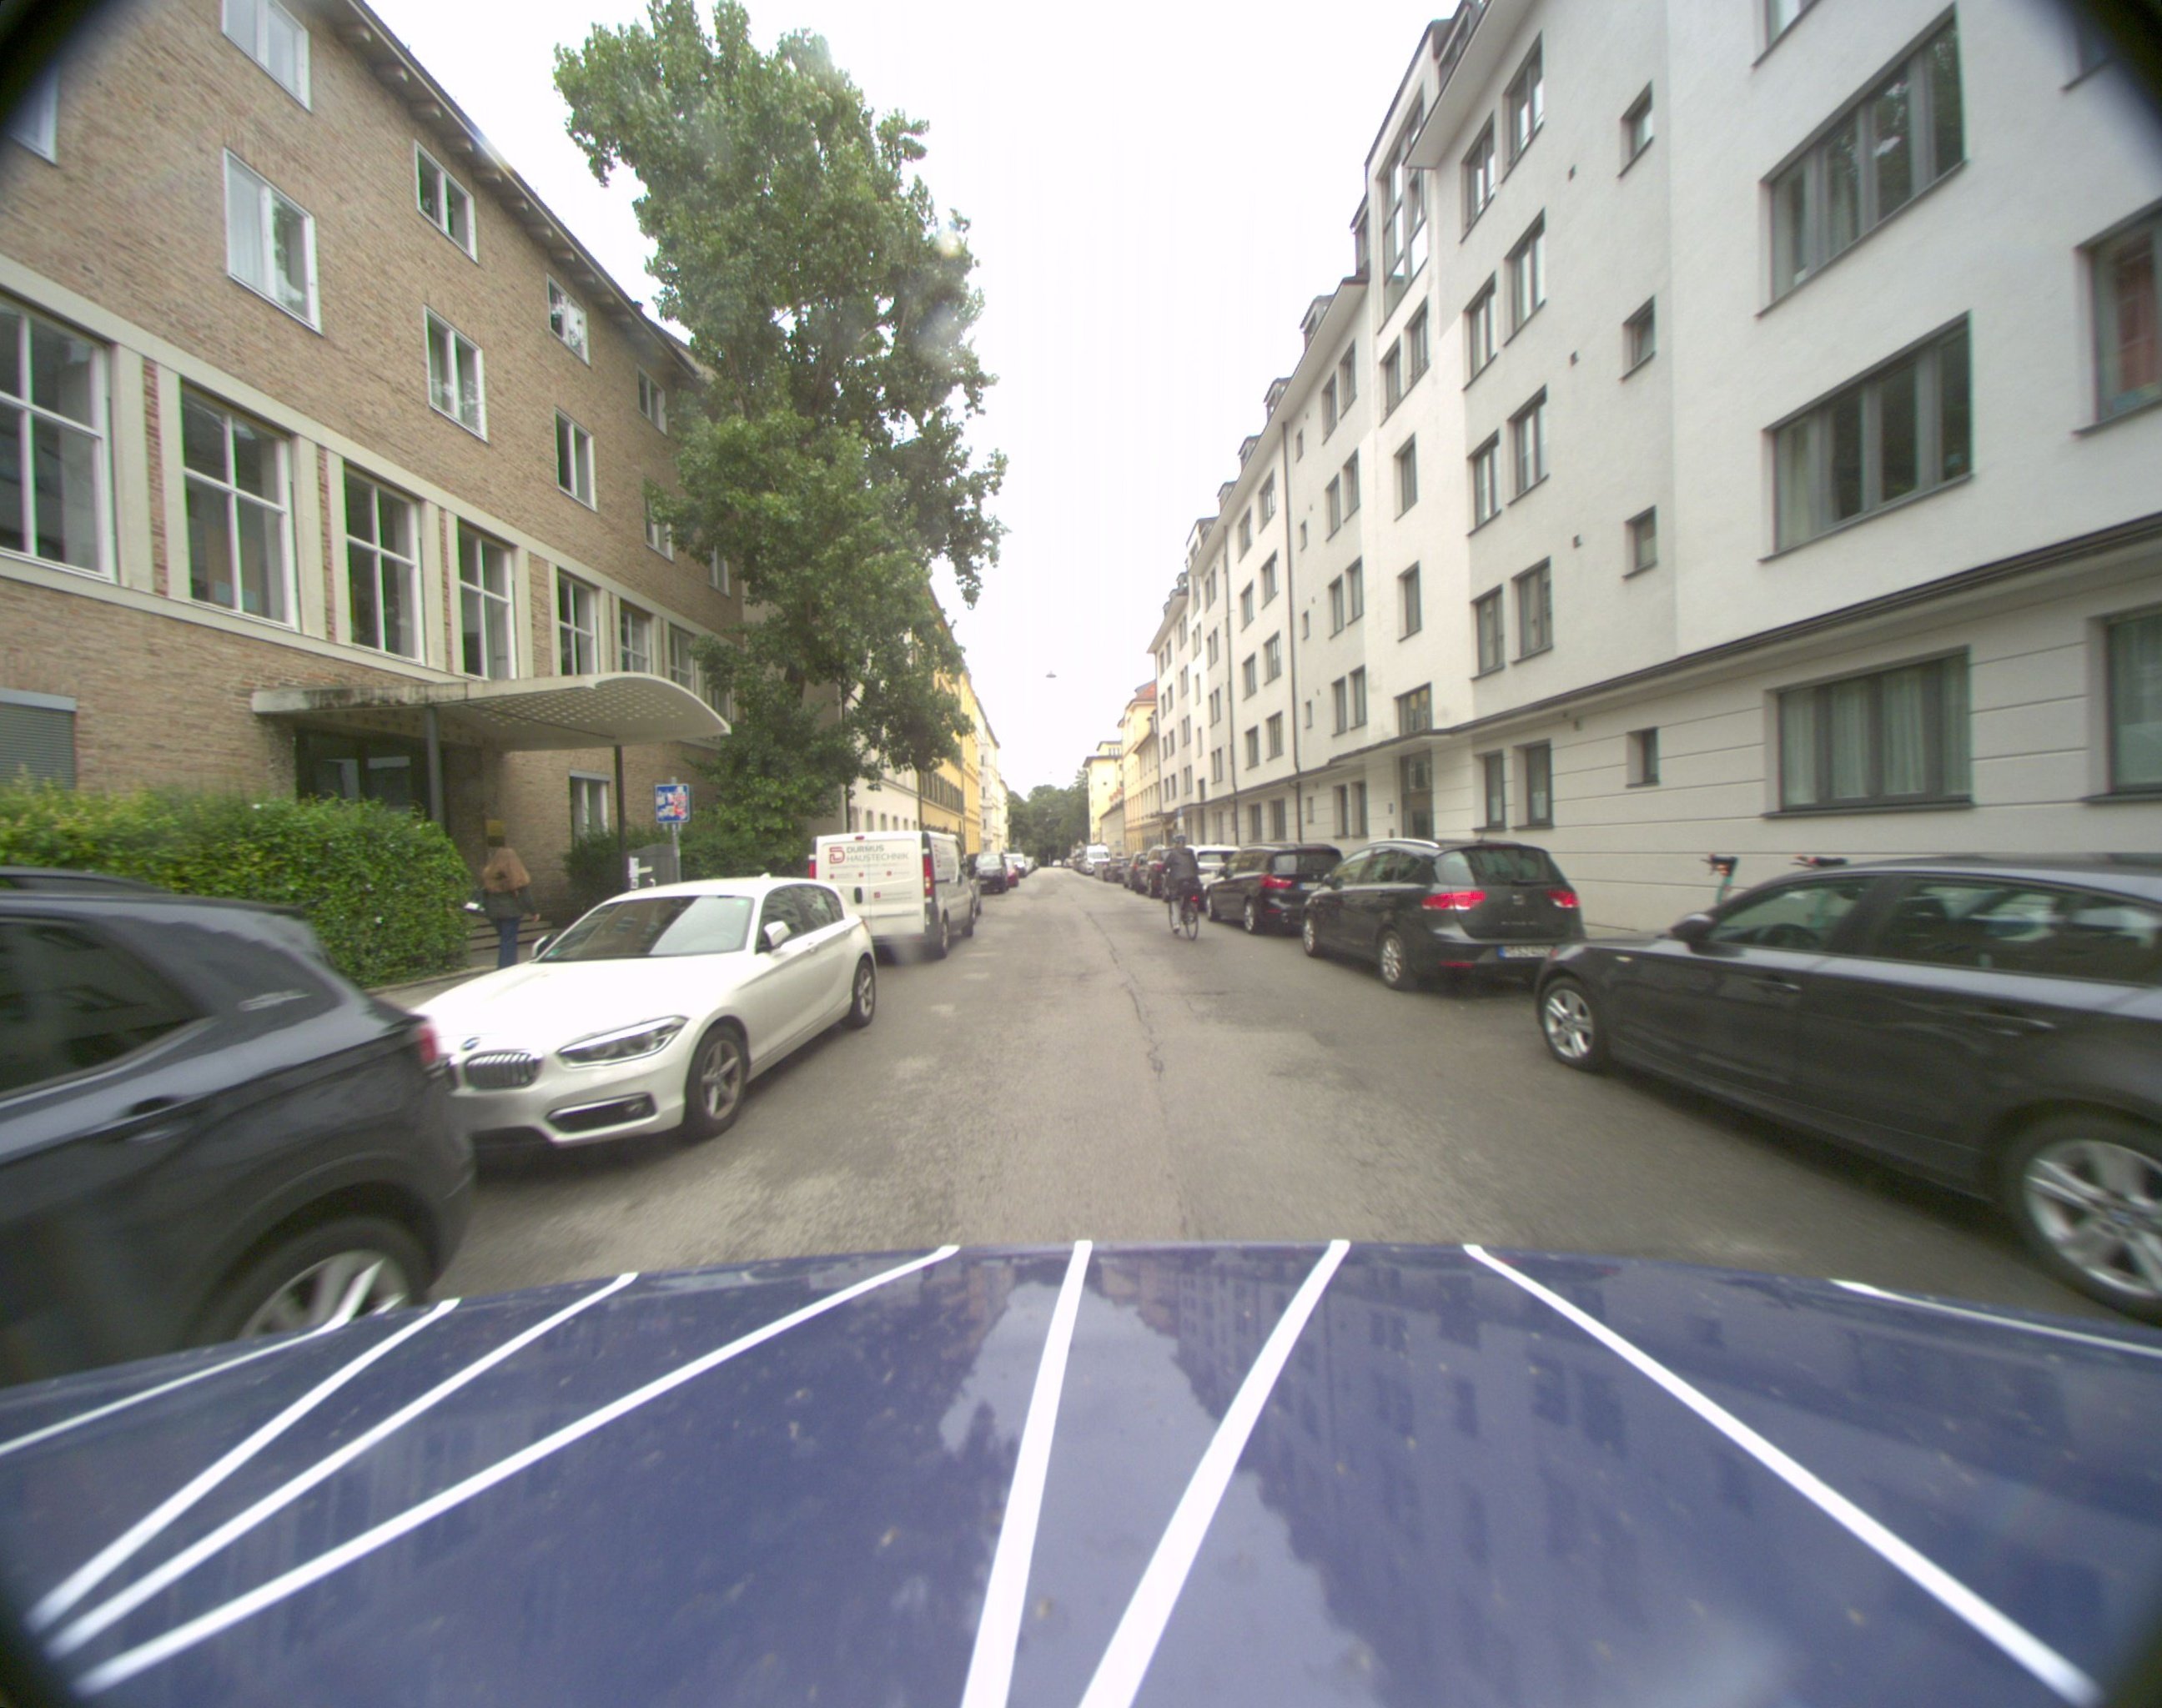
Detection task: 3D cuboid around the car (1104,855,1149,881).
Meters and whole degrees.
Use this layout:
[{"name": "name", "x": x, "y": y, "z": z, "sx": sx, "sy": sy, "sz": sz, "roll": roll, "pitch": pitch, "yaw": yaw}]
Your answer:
[{"name": "car", "x": 2.421, "y": 0.755, "z": 41.562, "sx": 1.644, "sy": 1.346, "sz": 4.055, "roll": 0, "pitch": 0, "yaw": -9}]

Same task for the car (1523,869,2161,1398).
[{"name": "car", "x": 3.977, "y": 0.828, "z": 3.363, "sx": 1.755, "sy": 1.445, "sz": 4.015, "roll": -1, "pitch": 0, "yaw": 1}]

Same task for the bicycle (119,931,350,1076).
[{"name": "bicycle", "x": -7.856, "y": 1.339, "z": 7.153, "sx": 0.423, "sy": 1.047, "sz": 1.488, "roll": -3, "pitch": 0, "yaw": 1}]

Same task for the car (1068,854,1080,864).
[{"name": "car", "x": -1.110, "y": 0.715, "z": 116.215, "sx": 1.711, "sy": 1.490, "sz": 3.999, "roll": -2, "pitch": 0, "yaw": -3}]

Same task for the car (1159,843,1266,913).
[{"name": "car", "x": 3.392, "y": 0.592, "z": 20.526, "sx": 1.877, "sy": 1.648, "sz": 4.589, "roll": -1, "pitch": 0, "yaw": -3}]

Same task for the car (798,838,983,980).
[{"name": "car", "x": -2.964, "y": 0.753, "z": 13.002, "sx": 1.887, "sy": 1.913, "sz": 4.874, "roll": -2, "pitch": 0, "yaw": 0}]

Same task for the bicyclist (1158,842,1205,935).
[{"name": "bicyclist", "x": 1.721, "y": 0.570, "z": 13.147, "sx": 0.659, "sy": 1.542, "sz": 0.887, "roll": -2, "pitch": 1, "yaw": 0}]

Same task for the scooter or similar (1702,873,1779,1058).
[{"name": "scooter or similar", "x": 5.363, "y": 0.845, "z": 6.211, "sx": 0.226, "sy": 1.348, "sz": 1.121, "roll": 0, "pitch": 1, "yaw": 28}]

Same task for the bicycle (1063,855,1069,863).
[{"name": "bicycle", "x": -2.126, "y": 0.672, "z": 109.942, "sx": 0.734, "sy": 1.144, "sz": 1.999, "roll": -2, "pitch": 0, "yaw": -3}]

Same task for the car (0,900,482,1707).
[{"name": "car", "x": -2.713, "y": 0.992, "z": 0.317, "sx": 1.752, "sy": 1.584, "sz": 3.955, "roll": -3, "pitch": 1, "yaw": -1}]

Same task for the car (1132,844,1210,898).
[{"name": "car", "x": 2.957, "y": 0.543, "z": 25.830, "sx": 1.877, "sy": 1.678, "sz": 4.519, "roll": -1, "pitch": 0, "yaw": -3}]

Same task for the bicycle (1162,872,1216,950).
[{"name": "bicycle", "x": 1.846, "y": 0.946, "z": 13.239, "sx": 0.650, "sy": 1.190, "sz": 1.950, "roll": -1, "pitch": 1, "yaw": 0}]

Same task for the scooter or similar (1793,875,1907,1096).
[{"name": "scooter or similar", "x": 5.330, "y": 0.838, "z": 5.308, "sx": 0.226, "sy": 1.348, "sz": 1.121, "roll": 0, "pitch": 1, "yaw": 28}]

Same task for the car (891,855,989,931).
[{"name": "car", "x": -3.366, "y": 0.871, "z": 18.934, "sx": 1.813, "sy": 1.591, "sz": 4.213, "roll": -2, "pitch": 0, "yaw": -3}]

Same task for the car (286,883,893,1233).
[{"name": "car", "x": -2.852, "y": 1.053, "z": 5.702, "sx": 1.677, "sy": 1.409, "sz": 4.201, "roll": -3, "pitch": 0, "yaw": 1}]

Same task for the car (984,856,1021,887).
[{"name": "car", "x": -4.020, "y": 0.881, "z": 39.550, "sx": 1.718, "sy": 1.415, "sz": 4.456, "roll": -2, "pitch": 1, "yaw": -4}]

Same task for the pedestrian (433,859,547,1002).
[{"name": "pedestrian", "x": -7.122, "y": 0.888, "z": 9.195, "sx": 0.589, "sy": 1.623, "sz": 0.877, "roll": -3, "pitch": 1, "yaw": 3}]

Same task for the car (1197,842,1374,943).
[{"name": "car", "x": 3.747, "y": 0.652, "z": 14.871, "sx": 1.878, "sy": 1.648, "sz": 4.588, "roll": -1, "pitch": 0, "yaw": -5}]

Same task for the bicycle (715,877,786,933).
[{"name": "bicycle", "x": -7.323, "y": 1.096, "z": 16.967, "sx": 0.672, "sy": 1.067, "sz": 2.223, "roll": -2, "pitch": 0, "yaw": -2}]

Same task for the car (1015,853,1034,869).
[{"name": "car", "x": -5.648, "y": 0.702, "z": 76.211, "sx": 1.721, "sy": 1.501, "sz": 4.467, "roll": -2, "pitch": 0, "yaw": -2}]

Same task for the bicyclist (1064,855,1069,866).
[{"name": "bicyclist", "x": -2.086, "y": 0.970, "z": 109.973, "sx": 0.688, "sy": 1.618, "sz": 0.852, "roll": -3, "pitch": 1, "yaw": -4}]

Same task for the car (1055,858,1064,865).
[{"name": "car", "x": -4.461, "y": 1.565, "z": 156.951, "sx": 1.793, "sy": 1.409, "sz": 3.904, "roll": -1, "pitch": 0, "yaw": -3}]

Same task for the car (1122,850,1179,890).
[{"name": "car", "x": 2.811, "y": 0.626, "z": 31.585, "sx": 1.778, "sy": 1.530, "sz": 4.158, "roll": -1, "pitch": 0, "yaw": -3}]

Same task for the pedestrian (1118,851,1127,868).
[{"name": "pedestrian", "x": 4.162, "y": 0.550, "z": 76.271, "sx": 0.807, "sy": 1.702, "sz": 1.021, "roll": -2, "pitch": 0, "yaw": -1}]

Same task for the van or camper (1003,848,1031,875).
[{"name": "van or camper", "x": -5.015, "y": 0.582, "z": 59.915, "sx": 1.999, "sy": 2.002, "sz": 5.231, "roll": -2, "pitch": 0, "yaw": -3}]

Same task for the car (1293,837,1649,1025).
[{"name": "car", "x": 4.041, "y": 0.688, "z": 8.777, "sx": 1.877, "sy": 1.648, "sz": 4.079, "roll": -1, "pitch": 0, "yaw": -2}]

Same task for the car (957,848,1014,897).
[{"name": "car", "x": -3.955, "y": 0.720, "z": 32.099, "sx": 1.851, "sy": 1.766, "sz": 4.200, "roll": -4, "pitch": 1, "yaw": -1}]

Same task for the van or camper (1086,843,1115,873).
[{"name": "van or camper", "x": 1.470, "y": 0.273, "z": 59.706, "sx": 1.999, "sy": 2.298, "sz": 5.476, "roll": 0, "pitch": 1, "yaw": -2}]
